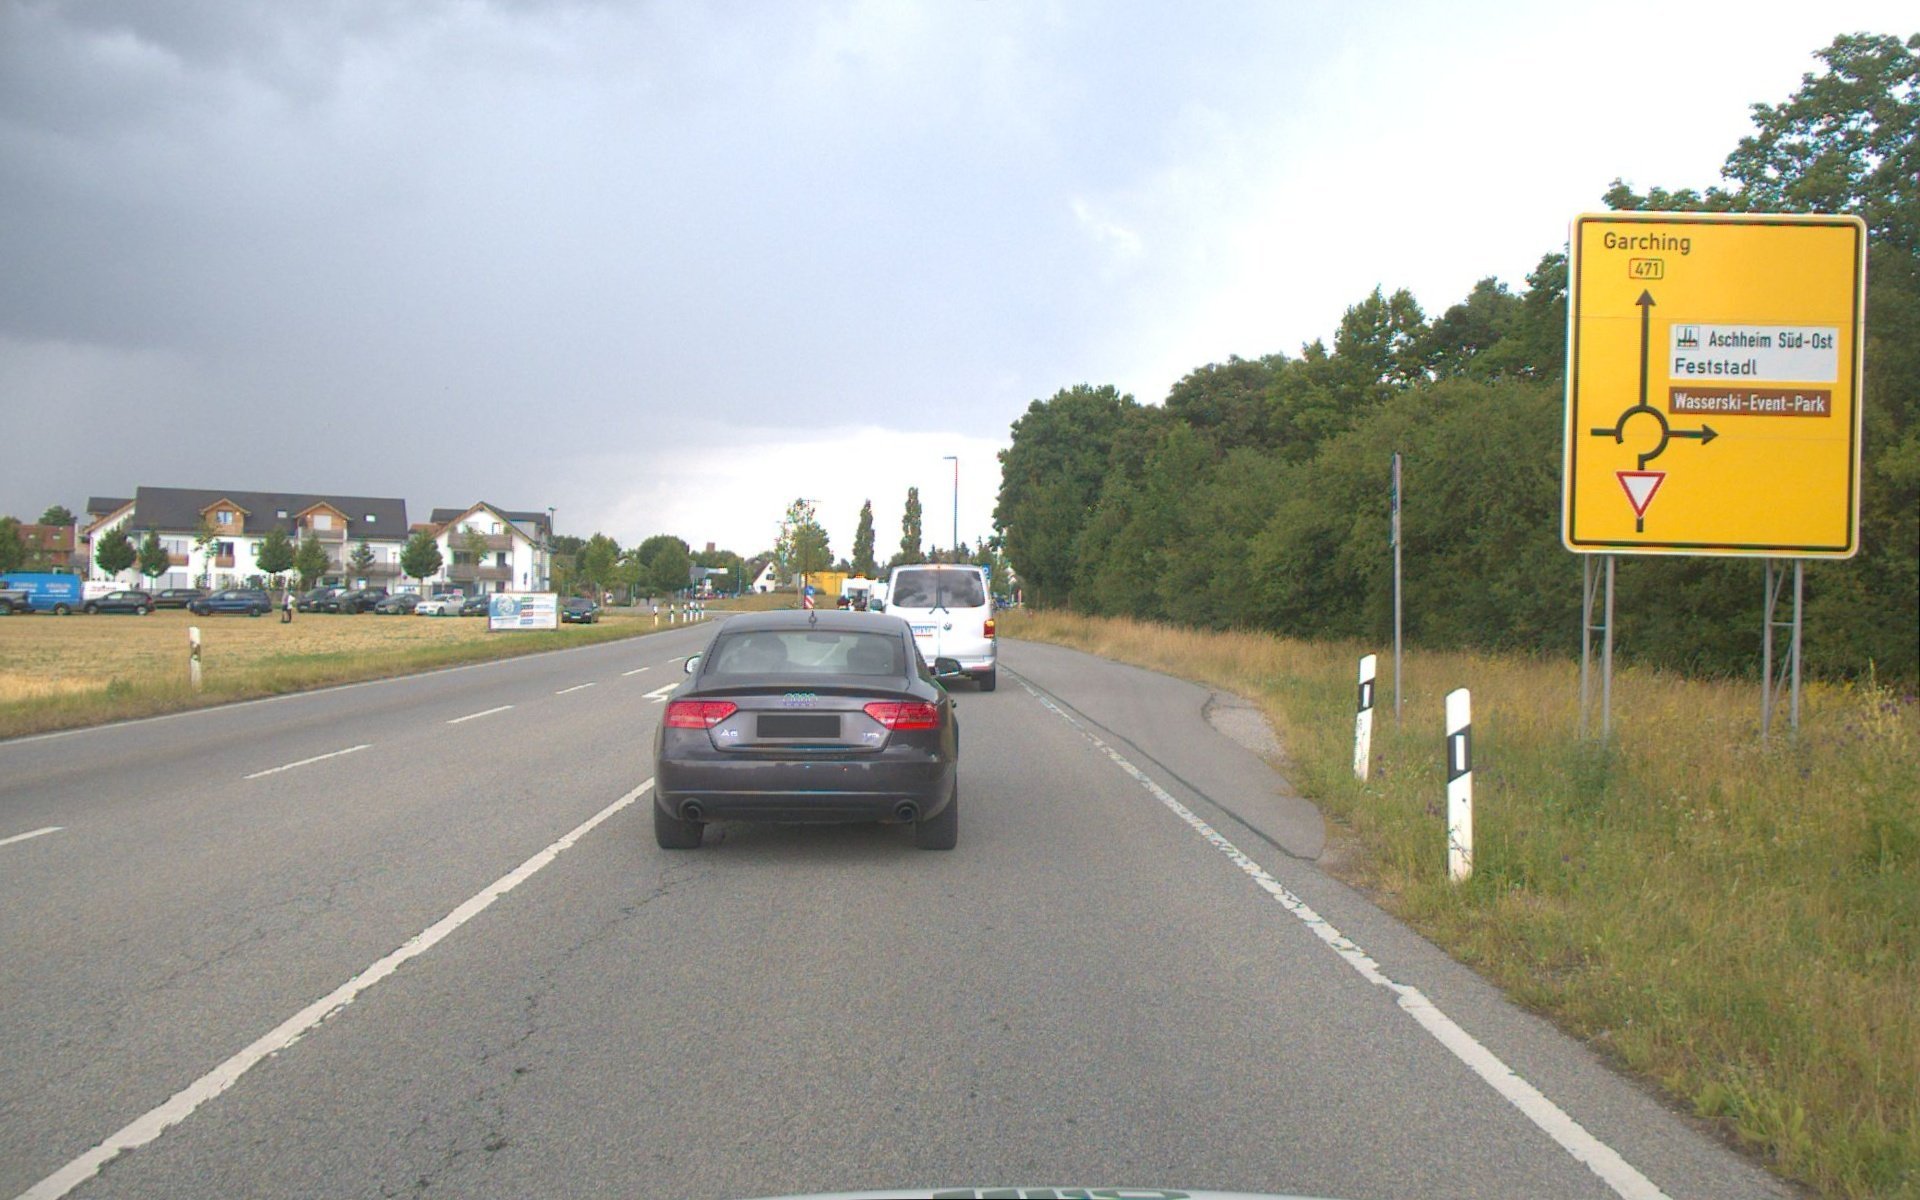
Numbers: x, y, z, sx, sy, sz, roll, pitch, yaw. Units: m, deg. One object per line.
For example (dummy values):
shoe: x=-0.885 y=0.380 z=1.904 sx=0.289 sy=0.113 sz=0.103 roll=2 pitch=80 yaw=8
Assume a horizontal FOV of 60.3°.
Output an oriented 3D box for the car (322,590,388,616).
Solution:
car: x=-39.786 y=0.180 z=108.810 sx=1.951 sy=1.657 sz=4.214 roll=1 pitch=0 yaw=16

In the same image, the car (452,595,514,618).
car: x=-31.097 y=0.420 z=107.892 sx=1.951 sy=1.471 sz=4.214 roll=1 pitch=0 yaw=16

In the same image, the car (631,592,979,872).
car: x=-0.903 y=0.699 z=10.887 sx=1.837 sy=1.479 sz=4.175 roll=0 pitch=0 yaw=-2

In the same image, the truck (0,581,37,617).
truck: x=-52.864 y=-0.067 z=89.380 sx=5.168 sy=1.954 sz=2.092 roll=1 pitch=0 yaw=-29

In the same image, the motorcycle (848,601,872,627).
motorcycle: x=-4.517 y=0.624 z=74.843 sx=0.901 sy=1.113 sz=2.188 roll=1 pitch=0 yaw=0

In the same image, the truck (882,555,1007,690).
truck: x=-0.303 y=0.341 z=27.501 sx=1.866 sy=2.033 sz=4.627 roll=1 pitch=0 yaw=-2

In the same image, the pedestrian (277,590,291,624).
pedestrian: x=-36.168 y=0.367 z=88.493 sx=0.539 sy=1.817 sz=0.676 roll=1 pitch=0 yaw=-14

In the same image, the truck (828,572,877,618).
truck: x=-6.810 y=-0.306 z=104.036 sx=2.577 sy=2.785 sz=5.855 roll=1 pitch=0 yaw=-9

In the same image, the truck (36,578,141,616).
truck: x=-53.217 y=-0.192 z=101.095 sx=5.494 sy=2.235 sz=2.587 roll=1 pitch=0 yaw=-25

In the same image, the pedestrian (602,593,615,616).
pedestrian: x=-24.649 y=0.307 z=115.961 sx=0.686 sy=1.613 sz=0.658 roll=1 pitch=0 yaw=15

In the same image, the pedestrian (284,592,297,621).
pedestrian: x=-36.262 y=0.366 z=89.599 sx=0.581 sy=1.583 sz=0.622 roll=1 pitch=0 yaw=-21

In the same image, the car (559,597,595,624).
car: x=-22.172 y=0.607 z=95.799 sx=1.959 sy=1.467 sz=3.987 roll=1 pitch=1 yaw=-13

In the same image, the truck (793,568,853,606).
truck: x=-13.769 y=-1.312 z=165.545 sx=3.523 sy=3.641 sz=9.899 roll=2 pitch=0 yaw=-20

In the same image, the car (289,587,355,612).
car: x=-42.807 y=-0.048 z=111.078 sx=1.951 sy=1.657 sz=4.214 roll=1 pitch=0 yaw=16

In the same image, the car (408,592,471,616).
car: x=-33.980 y=0.249 z=108.074 sx=1.951 sy=1.471 sz=4.214 roll=1 pitch=0 yaw=16

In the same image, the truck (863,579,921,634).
truck: x=-2.607 y=0.247 z=64.489 sx=2.149 sy=2.049 sz=5.083 roll=1 pitch=0 yaw=-2

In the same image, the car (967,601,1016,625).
car: x=2.823 y=1.165 z=147.597 sx=3.903 sy=2.049 sz=2.001 roll=1 pitch=0 yaw=18

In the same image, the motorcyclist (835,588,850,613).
motorcyclist: x=-6.587 y=0.045 z=92.676 sx=0.771 sy=1.380 sz=0.852 roll=1 pitch=0 yaw=-8

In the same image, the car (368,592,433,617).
car: x=-36.670 y=0.302 z=108.493 sx=1.951 sy=1.562 sz=4.214 roll=1 pitch=0 yaw=16

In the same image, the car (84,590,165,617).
car: x=-49.677 y=0.204 z=98.394 sx=4.098 sy=1.545 sz=1.986 roll=1 pitch=0 yaw=-23

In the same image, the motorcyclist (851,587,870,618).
motorcyclist: x=-4.485 y=0.109 z=74.747 sx=0.756 sy=1.407 sz=0.820 roll=1 pitch=0 yaw=0

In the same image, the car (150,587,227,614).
car: x=-52.231 y=0.042 z=112.092 sx=4.561 sy=1.727 sz=1.986 roll=1 pitch=0 yaw=-23

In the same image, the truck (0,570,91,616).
truck: x=-52.350 y=-0.390 z=93.648 sx=5.378 sy=2.489 sz=2.375 roll=1 pitch=0 yaw=-25

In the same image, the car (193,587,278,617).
car: x=-44.168 y=0.117 z=100.894 sx=4.650 sy=1.727 sz=1.986 roll=1 pitch=0 yaw=-23

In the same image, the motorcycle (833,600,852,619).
motorcycle: x=-6.603 y=0.534 z=92.755 sx=0.926 sy=1.037 sz=2.280 roll=1 pitch=0 yaw=-8
